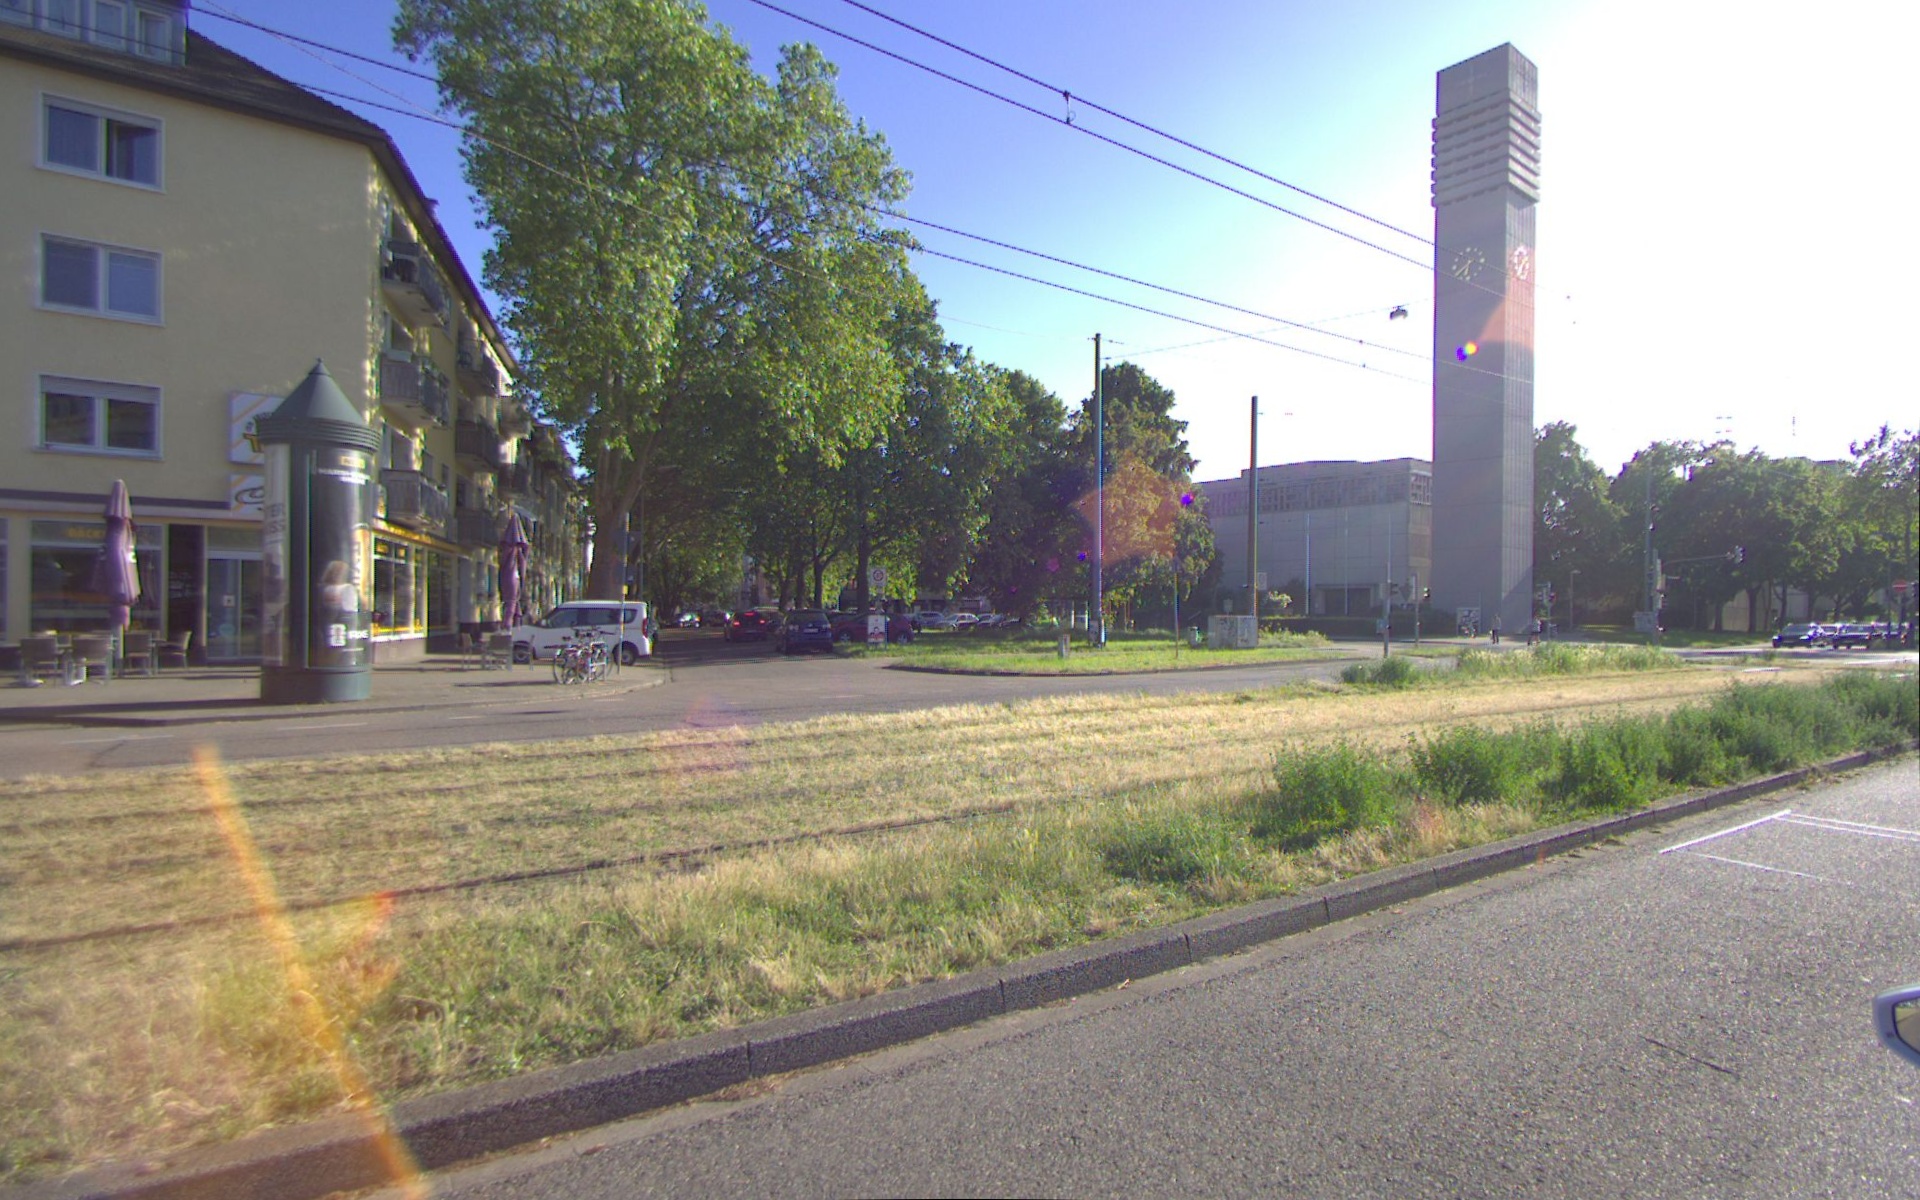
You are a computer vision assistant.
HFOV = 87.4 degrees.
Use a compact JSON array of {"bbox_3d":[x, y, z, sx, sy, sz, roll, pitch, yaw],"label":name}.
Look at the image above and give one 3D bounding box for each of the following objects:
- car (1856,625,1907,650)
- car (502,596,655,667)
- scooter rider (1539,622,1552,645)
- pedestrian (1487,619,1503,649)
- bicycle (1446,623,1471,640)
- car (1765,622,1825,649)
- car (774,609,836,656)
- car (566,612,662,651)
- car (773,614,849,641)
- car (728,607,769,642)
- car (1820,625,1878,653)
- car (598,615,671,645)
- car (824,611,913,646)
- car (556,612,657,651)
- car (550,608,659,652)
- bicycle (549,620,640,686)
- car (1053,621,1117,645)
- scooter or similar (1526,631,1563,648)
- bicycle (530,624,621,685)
[{"bbox_3d":[57.607,2.348,62.782,3.876,1.421,1.555,1,2,-36],"label":"car"},{"bbox_3d":[-10.878,0.895,28.791,3.941,1.851,1.990,1,2,-22],"label":"car"},{"bbox_3d":[33.217,1.909,56.943,0.519,1.234,0.585,3,2,39],"label":"scooter rider"},{"bbox_3d":[31.191,1.992,58.550,0.736,1.689,0.441,1,2,-26],"label":"pedestrian"},{"bbox_3d":[31.834,2.018,64.150,1.662,1.060,0.489,1,2,-29],"label":"bicycle"},{"bbox_3d":[50.596,2.147,60.816,4.318,1.553,1.794,1,-1,-36],"label":"car"},{"bbox_3d":[-5.703,1.140,36.605,1.721,1.622,3.986,0,0,-17],"label":"car"},{"bbox_3d":[-15.635,1.452,45.593,3.934,1.635,1.876,1,-3,-16],"label":"car"},{"bbox_3d":[-8.267,1.513,55.765,3.938,1.400,1.579,0,0,-19],"label":"car"},{"bbox_3d":[-10.800,1.223,51.169,1.721,1.706,3.986,0,0,-17],"label":"car"},{"bbox_3d":[52.176,2.274,58.922,4.318,1.553,1.676,1,-1,-36],"label":"car"},{"bbox_3d":[-19.198,1.774,59.401,3.994,1.687,1.994,1,-2,-16],"label":"car"},{"bbox_3d":[-3.992,1.255,43.932,3.591,1.399,1.639,1,2,-18],"label":"car"},{"bbox_3d":[-15.146,1.387,43.258,3.934,1.590,1.876,1,-3,-16],"label":"car"},{"bbox_3d":[-14.399,1.253,40.908,3.994,1.687,1.994,1,-2,-16],"label":"car"},{"bbox_3d":[-7.593,1.068,20.969,0.509,1.268,2.090,2,0,20],"label":"bicycle"},{"bbox_3d":[9.311,2.439,75.250,1.984,1.420,4.662,1,2,-41],"label":"car"},{"bbox_3d":[33.157,2.225,56.993,1.714,0.911,0.561,0,-1,40],"label":"scooter or similar"},{"bbox_3d":[-8.082,1.112,21.210,0.509,1.200,2.090,2,0,20],"label":"bicycle"}]
